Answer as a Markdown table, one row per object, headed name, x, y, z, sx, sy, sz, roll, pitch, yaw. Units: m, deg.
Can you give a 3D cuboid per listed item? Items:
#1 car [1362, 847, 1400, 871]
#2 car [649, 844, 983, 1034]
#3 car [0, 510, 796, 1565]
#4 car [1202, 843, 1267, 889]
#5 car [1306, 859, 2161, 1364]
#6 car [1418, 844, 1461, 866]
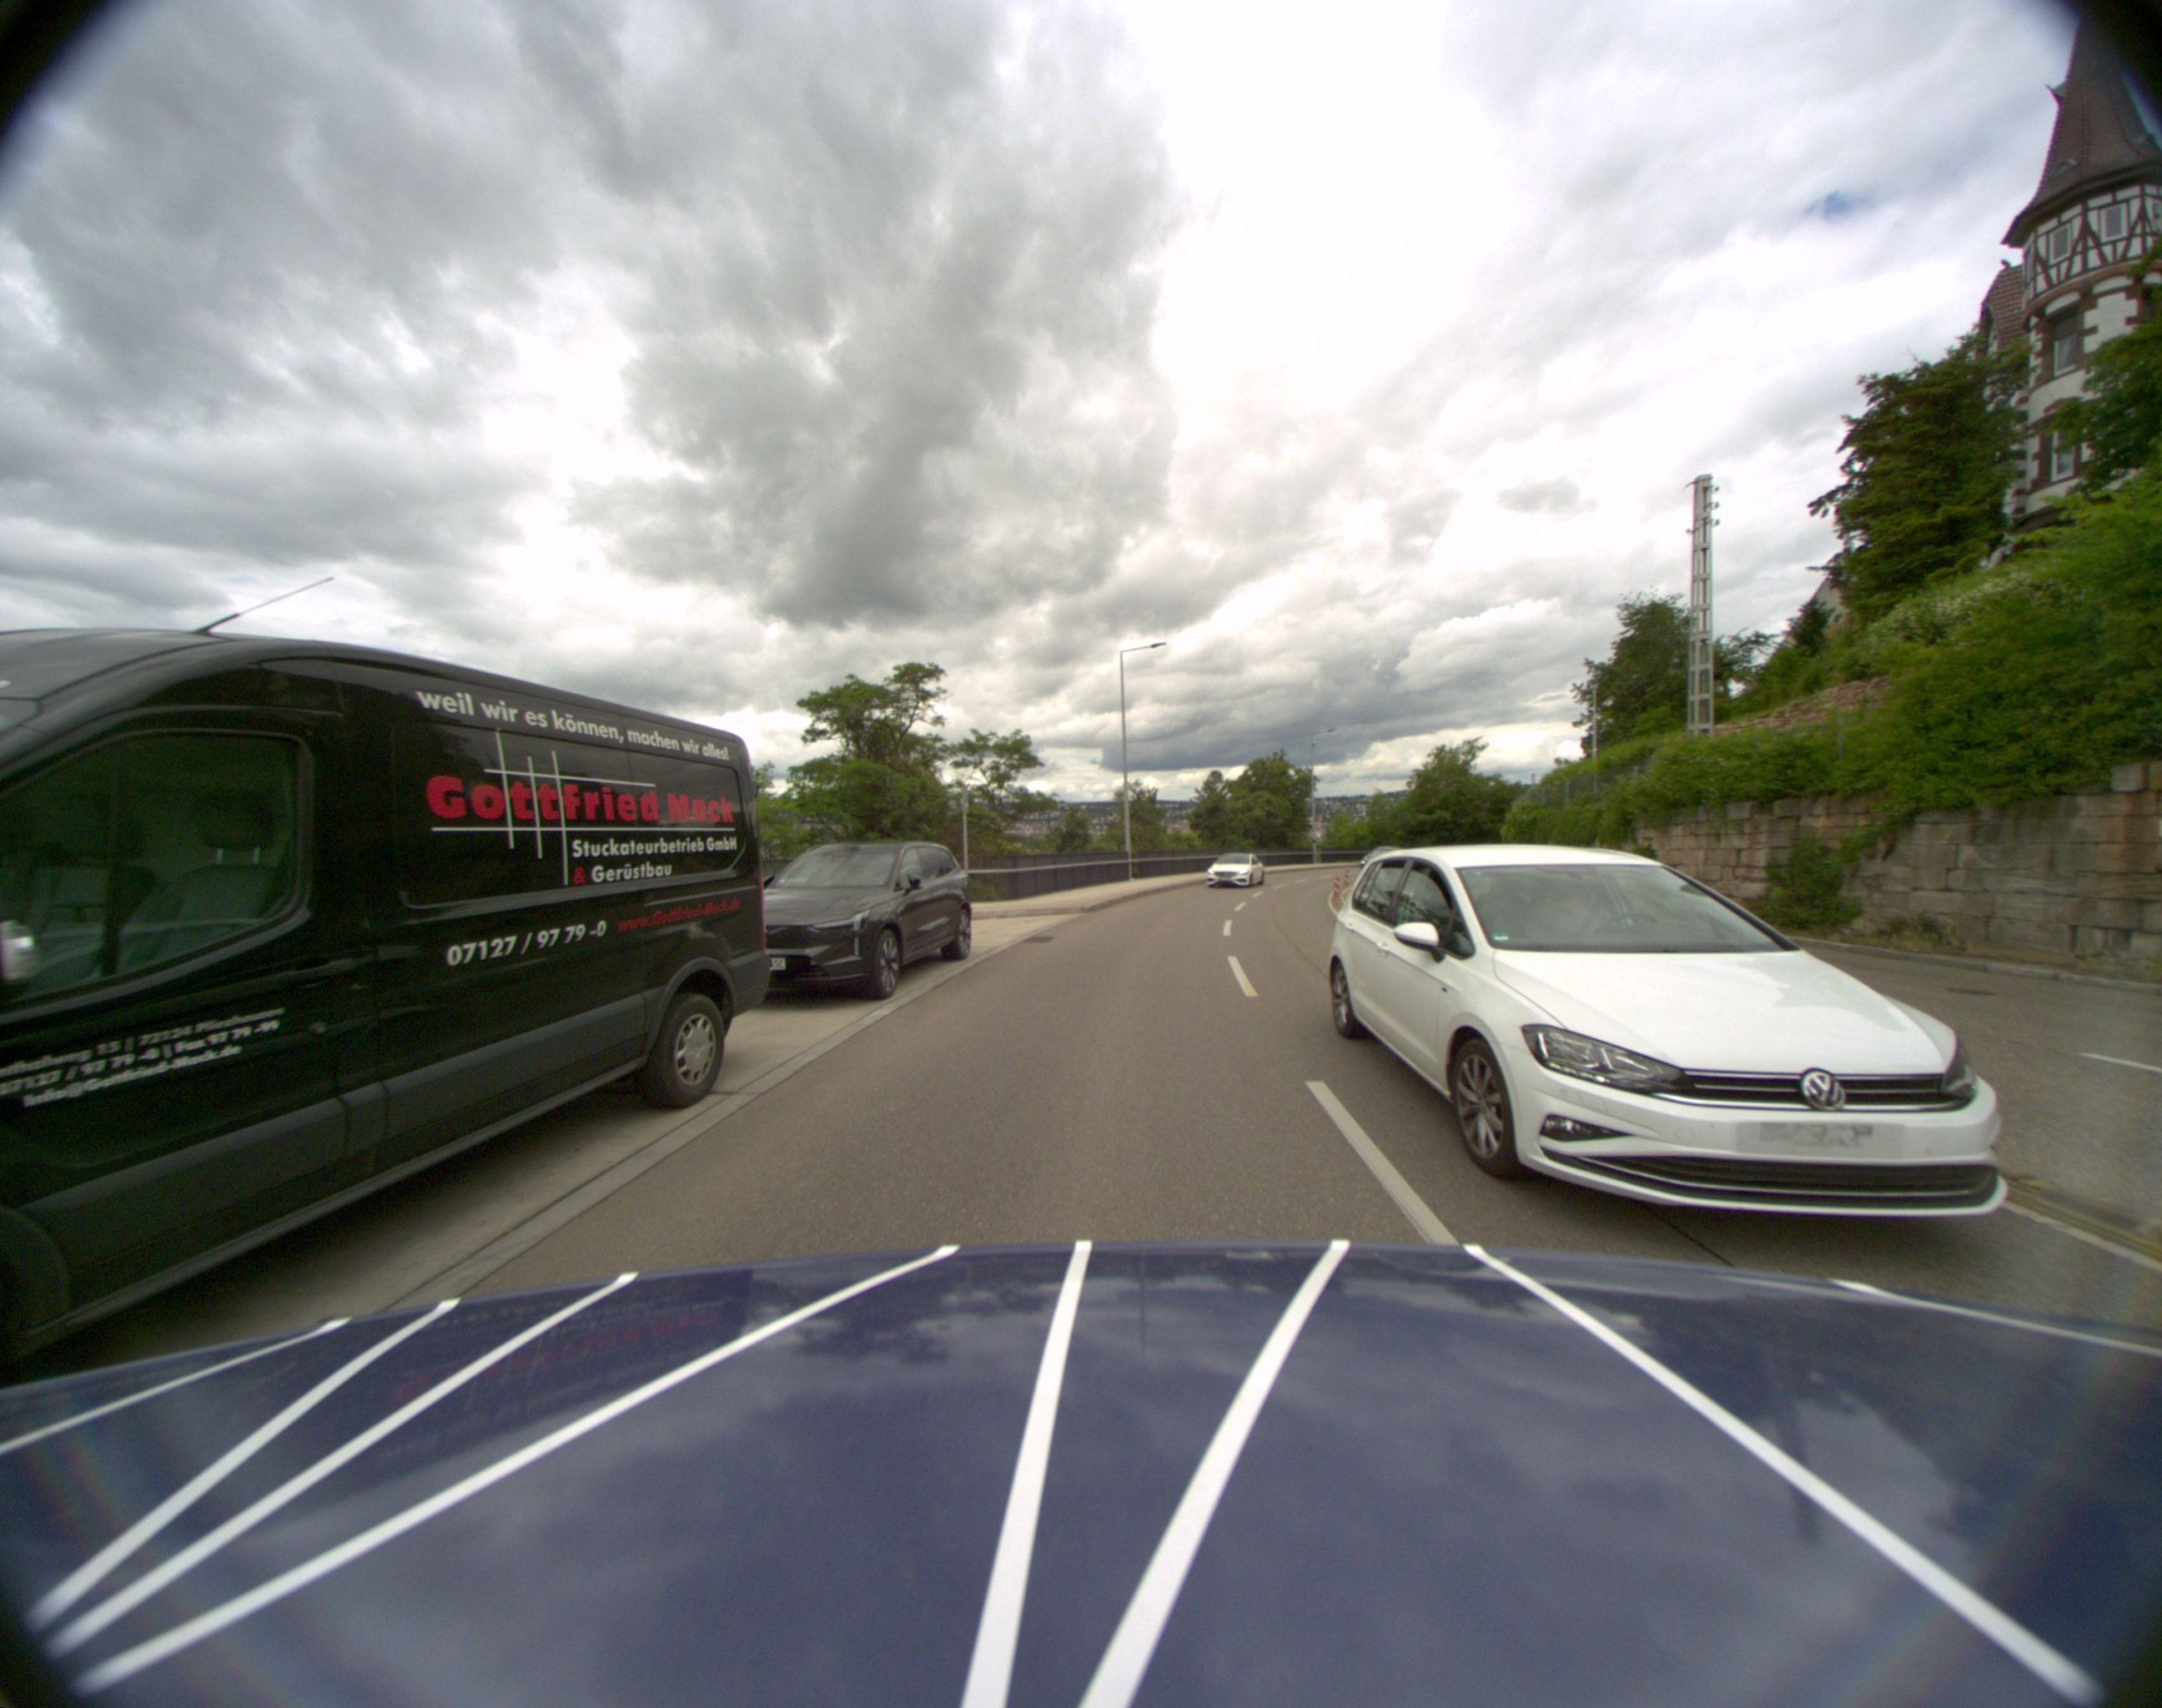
| name | x | y | z | sx | sy | sz | roll | pitch | yaw |
| --- | --- | --- | --- | --- | --- | --- | --- | --- | --- |
| car | 19.990 | 0.314 | 50.513 | 1.897 | 1.485 | 4.149 | -1 | 0 | 28 |
| car | -2.872 | 0.770 | 9.750 | 1.997 | 1.708 | 5.050 | 0 | 2 | 7 |
| car | -3.548 | 0.410 | 3.182 | 2.171 | 2.507 | 5.772 | 1 | 1 | 4 |
| car | 6.682 | 0.449 | 32.795 | 1.995 | 1.709 | 4.005 | 0 | 3 | 23 |
| car | 2.732 | 0.827 | 4.641 | 1.825 | 1.571 | 4.358 | 0 | 0 | 6 |
| car | 26.448 | 0.079 | 56.017 | 1.920 | 1.485 | 4.150 | -1 | 0 | 39 |
